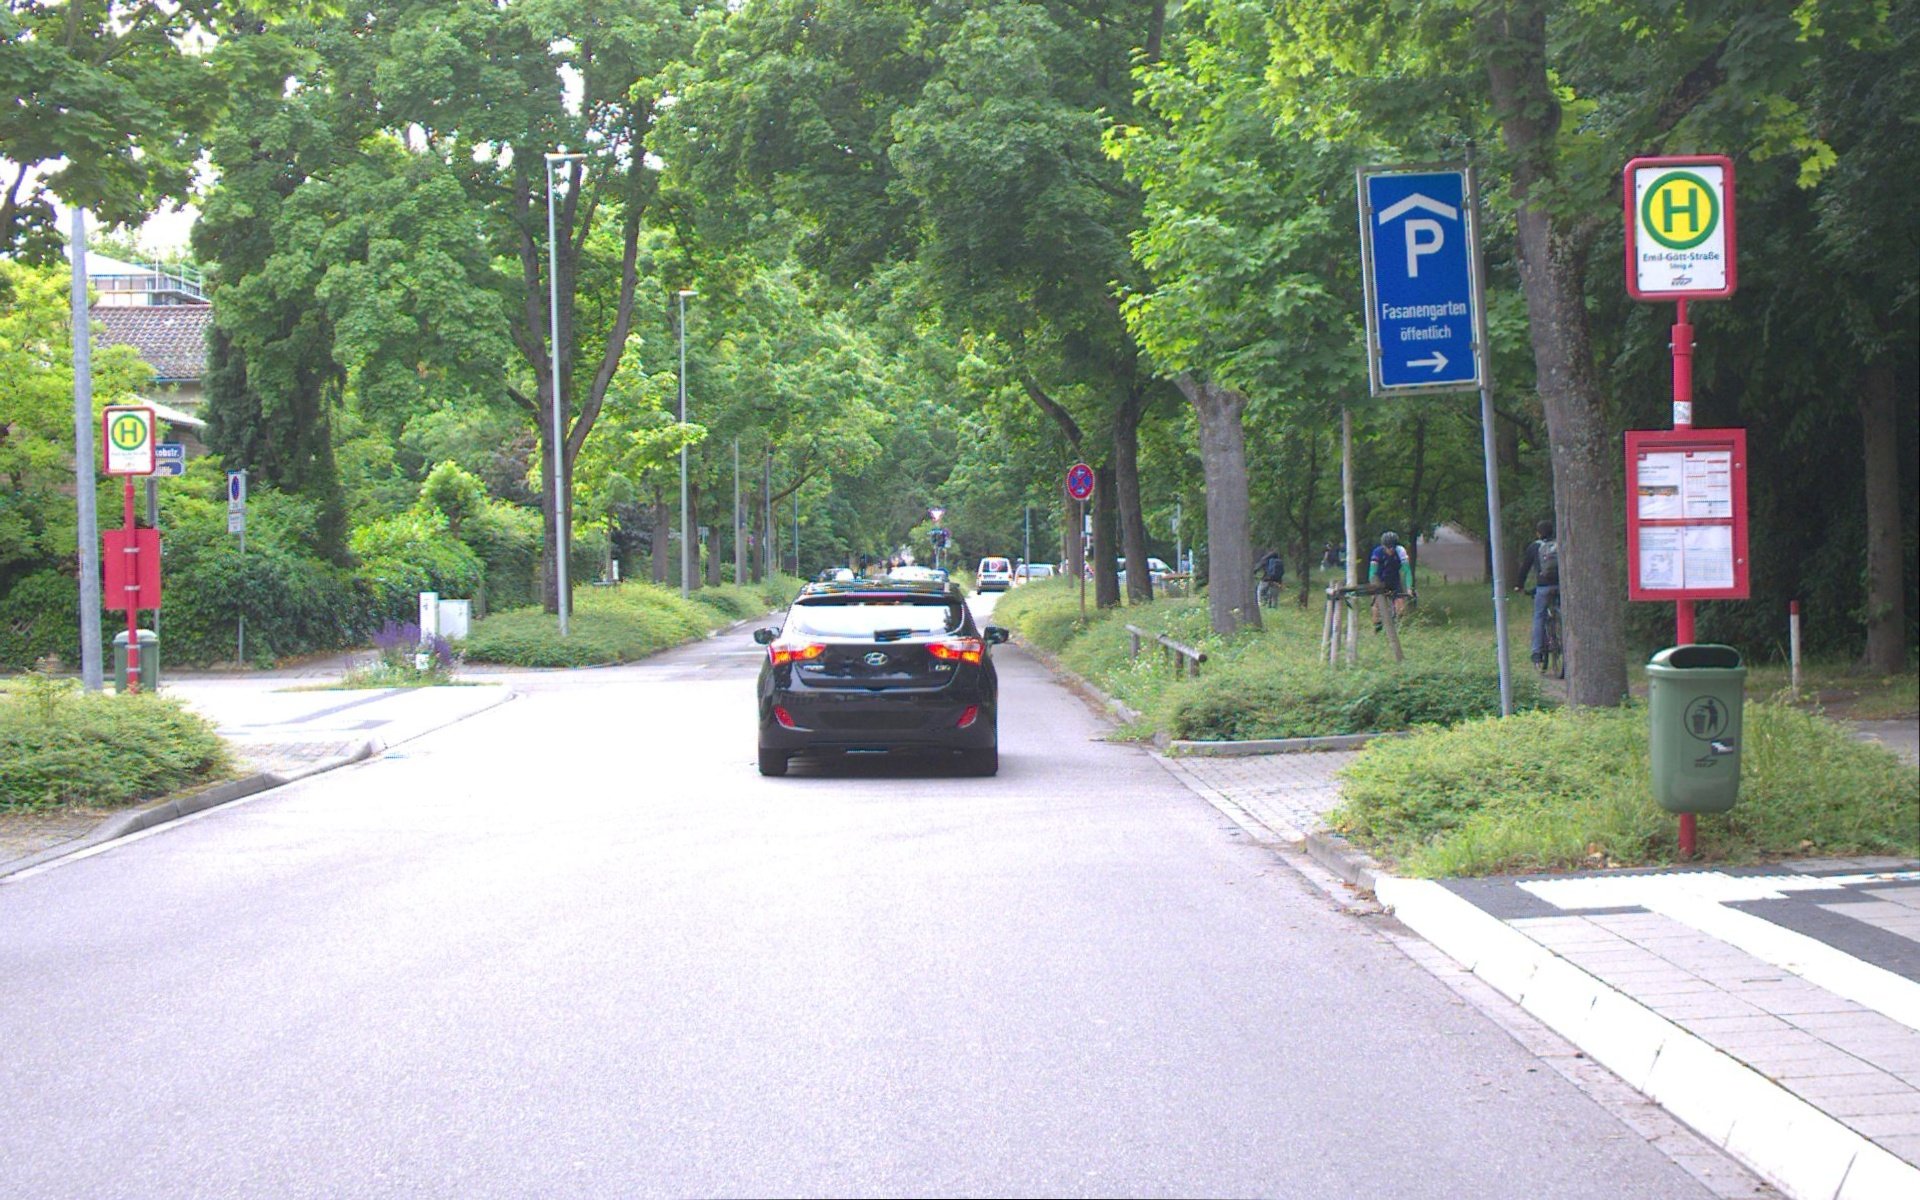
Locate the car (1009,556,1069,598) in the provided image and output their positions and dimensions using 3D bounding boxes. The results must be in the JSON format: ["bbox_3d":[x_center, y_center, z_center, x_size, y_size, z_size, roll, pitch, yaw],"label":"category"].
[{"bbox_3d":[2.885,-0.842,125.560,1.899,1.481,4.000,-1,0,-3],"label":"car"}]

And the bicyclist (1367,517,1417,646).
[{"bbox_3d":[5.237,-0.228,41.709,0.535,1.544,0.758,-2,1,7],"label":"bicyclist"}]

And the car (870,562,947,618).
[{"bbox_3d":[-1.427,-0.298,94.127,1.864,1.457,4.117,-1,1,-4],"label":"car"}]

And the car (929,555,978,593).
[{"bbox_3d":[-0.280,-1.103,144.775,1.993,1.481,4.000,-2,1,-1],"label":"car"}]

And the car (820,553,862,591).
[{"bbox_3d":[-4.751,-1.121,136.832,1.562,1.432,4.216,-2,1,-3],"label":"car"}]

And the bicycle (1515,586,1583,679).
[{"bbox_3d":[6.609,0.351,38.627,0.607,0.971,1.943,-2,1,6],"label":"bicycle"}]

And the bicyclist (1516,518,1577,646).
[{"bbox_3d":[6.571,-0.202,38.536,0.597,1.404,0.758,-2,1,7],"label":"bicyclist"}]

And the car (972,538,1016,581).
[{"bbox_3d":[1.641,-1.968,166.300,1.993,2.007,4.000,-2,1,2],"label":"car"}]

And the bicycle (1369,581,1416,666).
[{"bbox_3d":[5.225,0.273,41.611,0.491,0.971,1.943,-2,1,6],"label":"bicycle"}]

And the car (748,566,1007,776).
[{"bbox_3d":[-0.644,0.488,26.628,1.846,1.457,3.828,-1,1,-2],"label":"car"}]

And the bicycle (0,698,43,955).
[{"bbox_3d":[-4.342,0.964,13.459,0.794,1.022,2.564,-2,1,0],"label":"bicycle"}]
